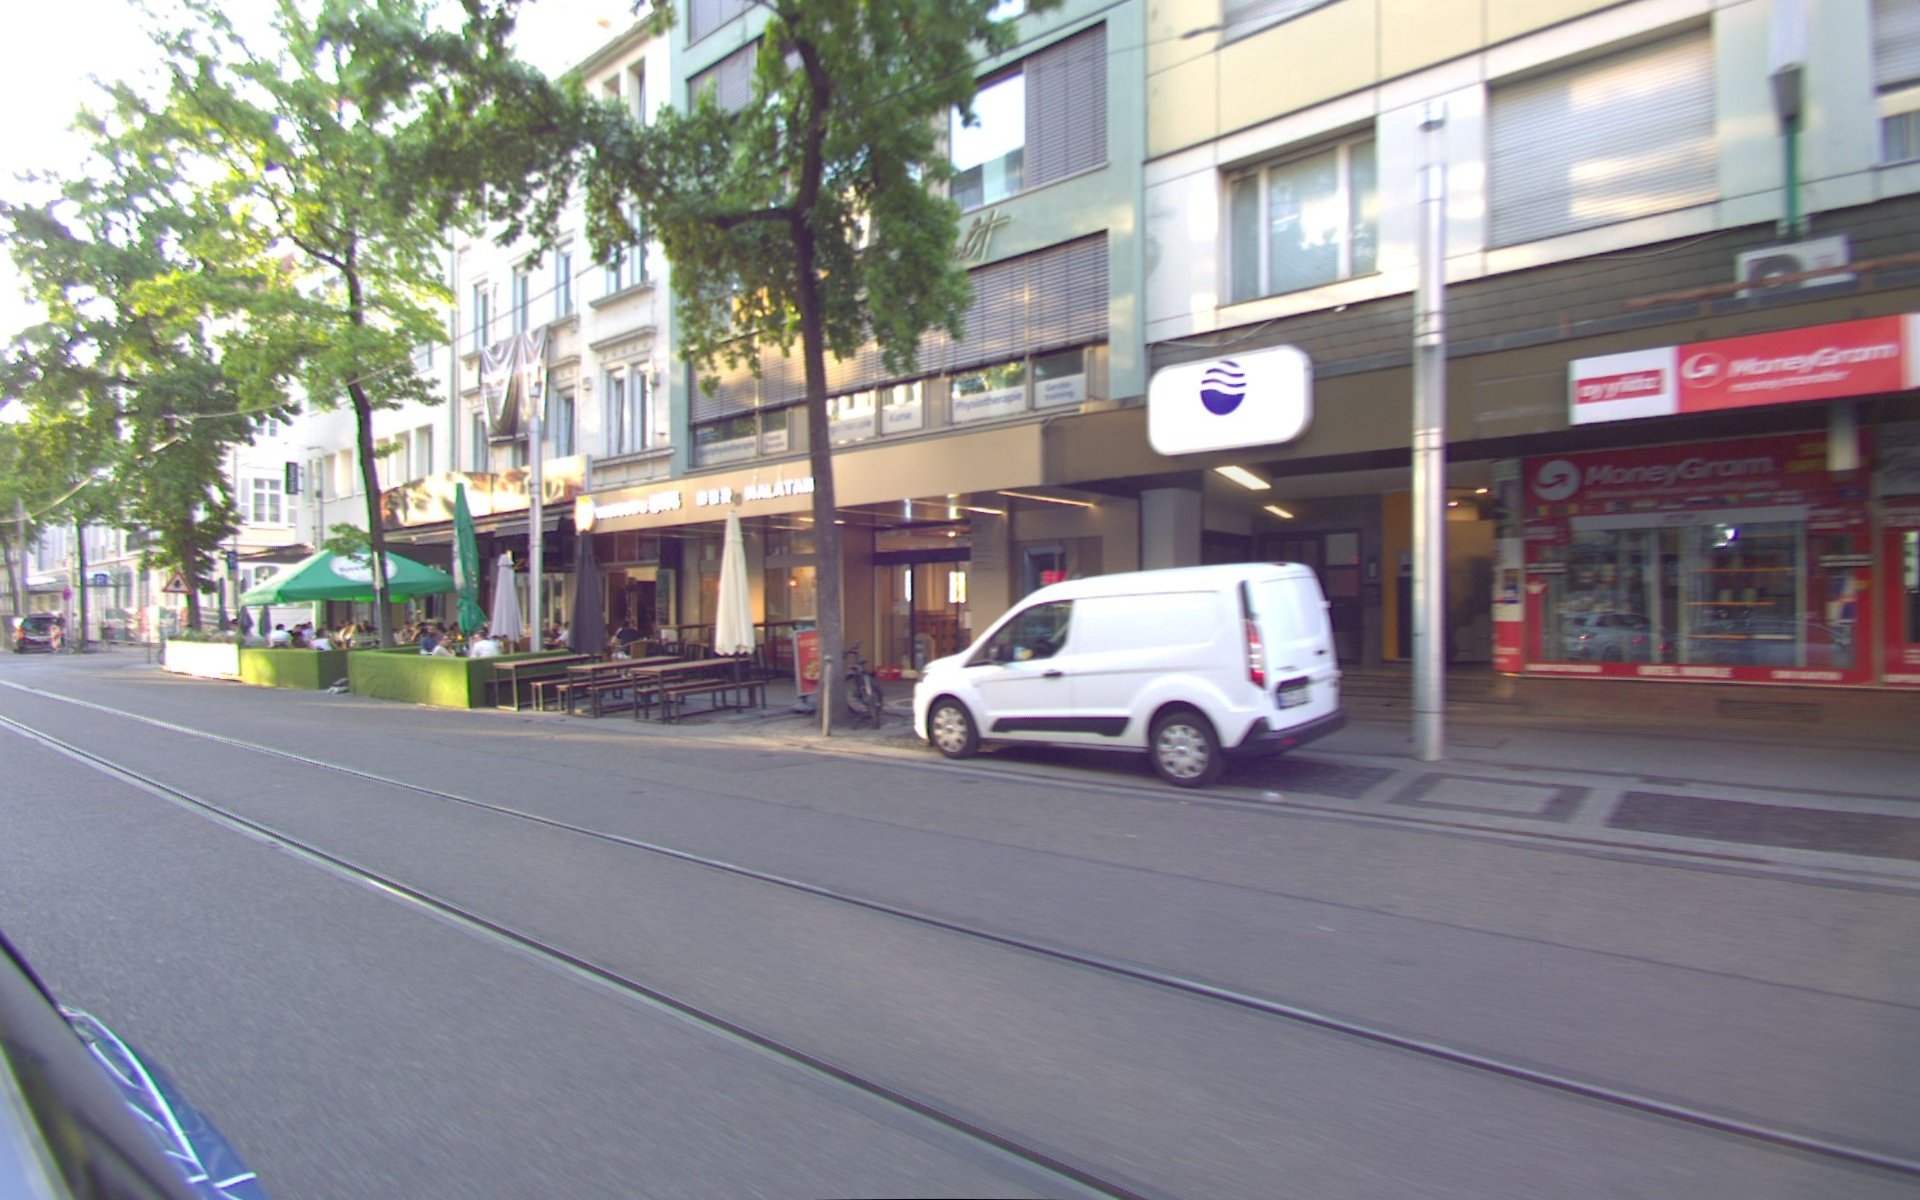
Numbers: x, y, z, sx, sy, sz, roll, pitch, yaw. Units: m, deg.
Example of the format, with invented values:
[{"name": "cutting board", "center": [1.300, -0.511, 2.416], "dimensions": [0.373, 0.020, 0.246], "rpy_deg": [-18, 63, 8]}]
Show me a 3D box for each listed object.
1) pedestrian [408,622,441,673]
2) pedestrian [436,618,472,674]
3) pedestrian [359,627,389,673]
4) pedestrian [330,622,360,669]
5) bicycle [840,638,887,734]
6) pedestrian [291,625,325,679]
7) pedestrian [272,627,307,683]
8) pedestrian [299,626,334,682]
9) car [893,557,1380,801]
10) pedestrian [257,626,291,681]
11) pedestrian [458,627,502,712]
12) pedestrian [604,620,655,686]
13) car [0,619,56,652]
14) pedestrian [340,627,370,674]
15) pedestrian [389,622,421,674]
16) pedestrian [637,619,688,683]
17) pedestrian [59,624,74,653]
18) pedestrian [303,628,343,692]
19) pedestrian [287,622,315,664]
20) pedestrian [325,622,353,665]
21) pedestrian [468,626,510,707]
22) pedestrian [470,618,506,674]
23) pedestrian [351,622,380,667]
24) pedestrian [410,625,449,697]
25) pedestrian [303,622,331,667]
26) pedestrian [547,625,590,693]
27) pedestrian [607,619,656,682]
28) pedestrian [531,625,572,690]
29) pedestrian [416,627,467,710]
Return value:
[{"name": "pedestrian", "center": [-15.782, 1.390, 29.833], "dimensions": [0.649, 1.471, 0.642], "rpy_deg": [-1, -1, 38]}, {"name": "pedestrian", "center": [-13.554, 1.220, 27.095], "dimensions": [0.649, 1.471, 0.642], "rpy_deg": [-1, -1, 38]}, {"name": "pedestrian", "center": [-18.844, 1.595, 32.562], "dimensions": [0.649, 1.471, 0.642], "rpy_deg": [-1, -1, 38]}, {"name": "pedestrian", "center": [-19.906, 1.466, 32.753], "dimensions": [0.649, 1.471, 0.642], "rpy_deg": [-1, -1, 39]}, {"name": "bicycle", "center": [-1.231, 1.073, 13.116], "dimensions": [0.493, 1.116, 1.801], "rpy_deg": [-1, -1, -2]}, {"name": "pedestrian", "center": [-17.321, 1.378, 26.887], "dimensions": [0.640, 1.396, 0.651], "rpy_deg": [0, -1, -43]}, {"name": "pedestrian", "center": [-16.889, 1.373, 25.500], "dimensions": [0.640, 1.396, 0.651], "rpy_deg": [0, -1, -43]}, {"name": "pedestrian", "center": [-16.490, 1.367, 25.929], "dimensions": [0.640, 1.396, 0.651], "rpy_deg": [0, -1, -43]}, {"name": "car", "center": [1.530, 0.616, 9.829], "dimensions": [4.328, 1.835, 1.807], "rpy_deg": [-1, 2, 42]}, {"name": "pedestrian", "center": [-17.827, 1.385, 26.312], "dimensions": [0.640, 1.396, 0.651], "rpy_deg": [0, -1, -43]}, {"name": "pedestrian", "center": [-8.580, 1.228, 18.106], "dimensions": [0.639, 1.471, 0.652], "rpy_deg": [0, -1, -20]}, {"name": "pedestrian", "center": [-6.857, 1.080, 20.998], "dimensions": [0.785, 1.326, 0.693], "rpy_deg": [-1, -1, 36]}, {"name": "car", "center": [-45.704, 1.720, 49.453], "dimensions": [3.998, 1.522, 1.775], "rpy_deg": [-1, -1, 41]}, {"name": "pedestrian", "center": [-19.210, 1.600, 32.124], "dimensions": [0.649, 1.471, 0.642], "rpy_deg": [-1, -1, 38]}, {"name": "pedestrian", "center": [-16.197, 1.395, 29.532], "dimensions": [0.649, 1.471, 0.642], "rpy_deg": [-1, -1, 38]}, {"name": "pedestrian", "center": [-6.315, 1.073, 21.485], "dimensions": [0.785, 1.326, 0.693], "rpy_deg": [-1, -1, 36]}, {"name": "pedestrian", "center": [-46.530, 2.009, 52.685], "dimensions": [0.543, 1.471, 0.484], "rpy_deg": [-1, -1, 39]}, {"name": "pedestrian", "center": [-14.222, 1.327, 22.594], "dimensions": [0.640, 1.396, 0.651], "rpy_deg": [0, -1, -43]}, {"name": "pedestrian", "center": [-23.179, 1.508, 35.604], "dimensions": [0.649, 1.471, 0.642], "rpy_deg": [-1, -1, 39]}, {"name": "pedestrian", "center": [-21.239, 1.483, 34.628], "dimensions": [0.649, 1.471, 0.642], "rpy_deg": [-1, -1, 39]}, {"name": "pedestrian", "center": [-8.851, 1.231, 19.002], "dimensions": [0.639, 1.471, 0.652], "rpy_deg": [0, -1, -32]}, {"name": "pedestrian", "center": [-12.535, 1.207, 26.884], "dimensions": [0.649, 1.471, 0.642], "rpy_deg": [-1, -1, 38]}, {"name": "pedestrian", "center": [-19.580, 1.461, 33.353], "dimensions": [0.649, 1.471, 0.642], "rpy_deg": [-1, -1, 39]}, {"name": "pedestrian", "center": [-11.098, 1.260, 21.173], "dimensions": [0.639, 1.471, 0.651], "rpy_deg": [0, -1, -36]}, {"name": "pedestrian", "center": [-21.642, 1.488, 34.059], "dimensions": [0.649, 1.471, 0.642], "rpy_deg": [-1, -1, 39]}, {"name": "pedestrian", "center": [-8.766, 1.304, 22.666], "dimensions": [0.648, 1.471, 0.643], "rpy_deg": [-1, -1, 32]}, {"name": "pedestrian", "center": [-7.160, 1.084, 22.071], "dimensions": [0.785, 1.326, 0.693], "rpy_deg": [-1, -1, 36]}, {"name": "pedestrian", "center": [-9.430, 1.312, 23.360], "dimensions": [0.649, 1.471, 0.642], "rpy_deg": [-1, -1, 39]}, {"name": "pedestrian", "center": [-9.474, 1.239, 18.503], "dimensions": [0.650, 1.471, 0.641], "rpy_deg": [-2, -1, 41]}]
